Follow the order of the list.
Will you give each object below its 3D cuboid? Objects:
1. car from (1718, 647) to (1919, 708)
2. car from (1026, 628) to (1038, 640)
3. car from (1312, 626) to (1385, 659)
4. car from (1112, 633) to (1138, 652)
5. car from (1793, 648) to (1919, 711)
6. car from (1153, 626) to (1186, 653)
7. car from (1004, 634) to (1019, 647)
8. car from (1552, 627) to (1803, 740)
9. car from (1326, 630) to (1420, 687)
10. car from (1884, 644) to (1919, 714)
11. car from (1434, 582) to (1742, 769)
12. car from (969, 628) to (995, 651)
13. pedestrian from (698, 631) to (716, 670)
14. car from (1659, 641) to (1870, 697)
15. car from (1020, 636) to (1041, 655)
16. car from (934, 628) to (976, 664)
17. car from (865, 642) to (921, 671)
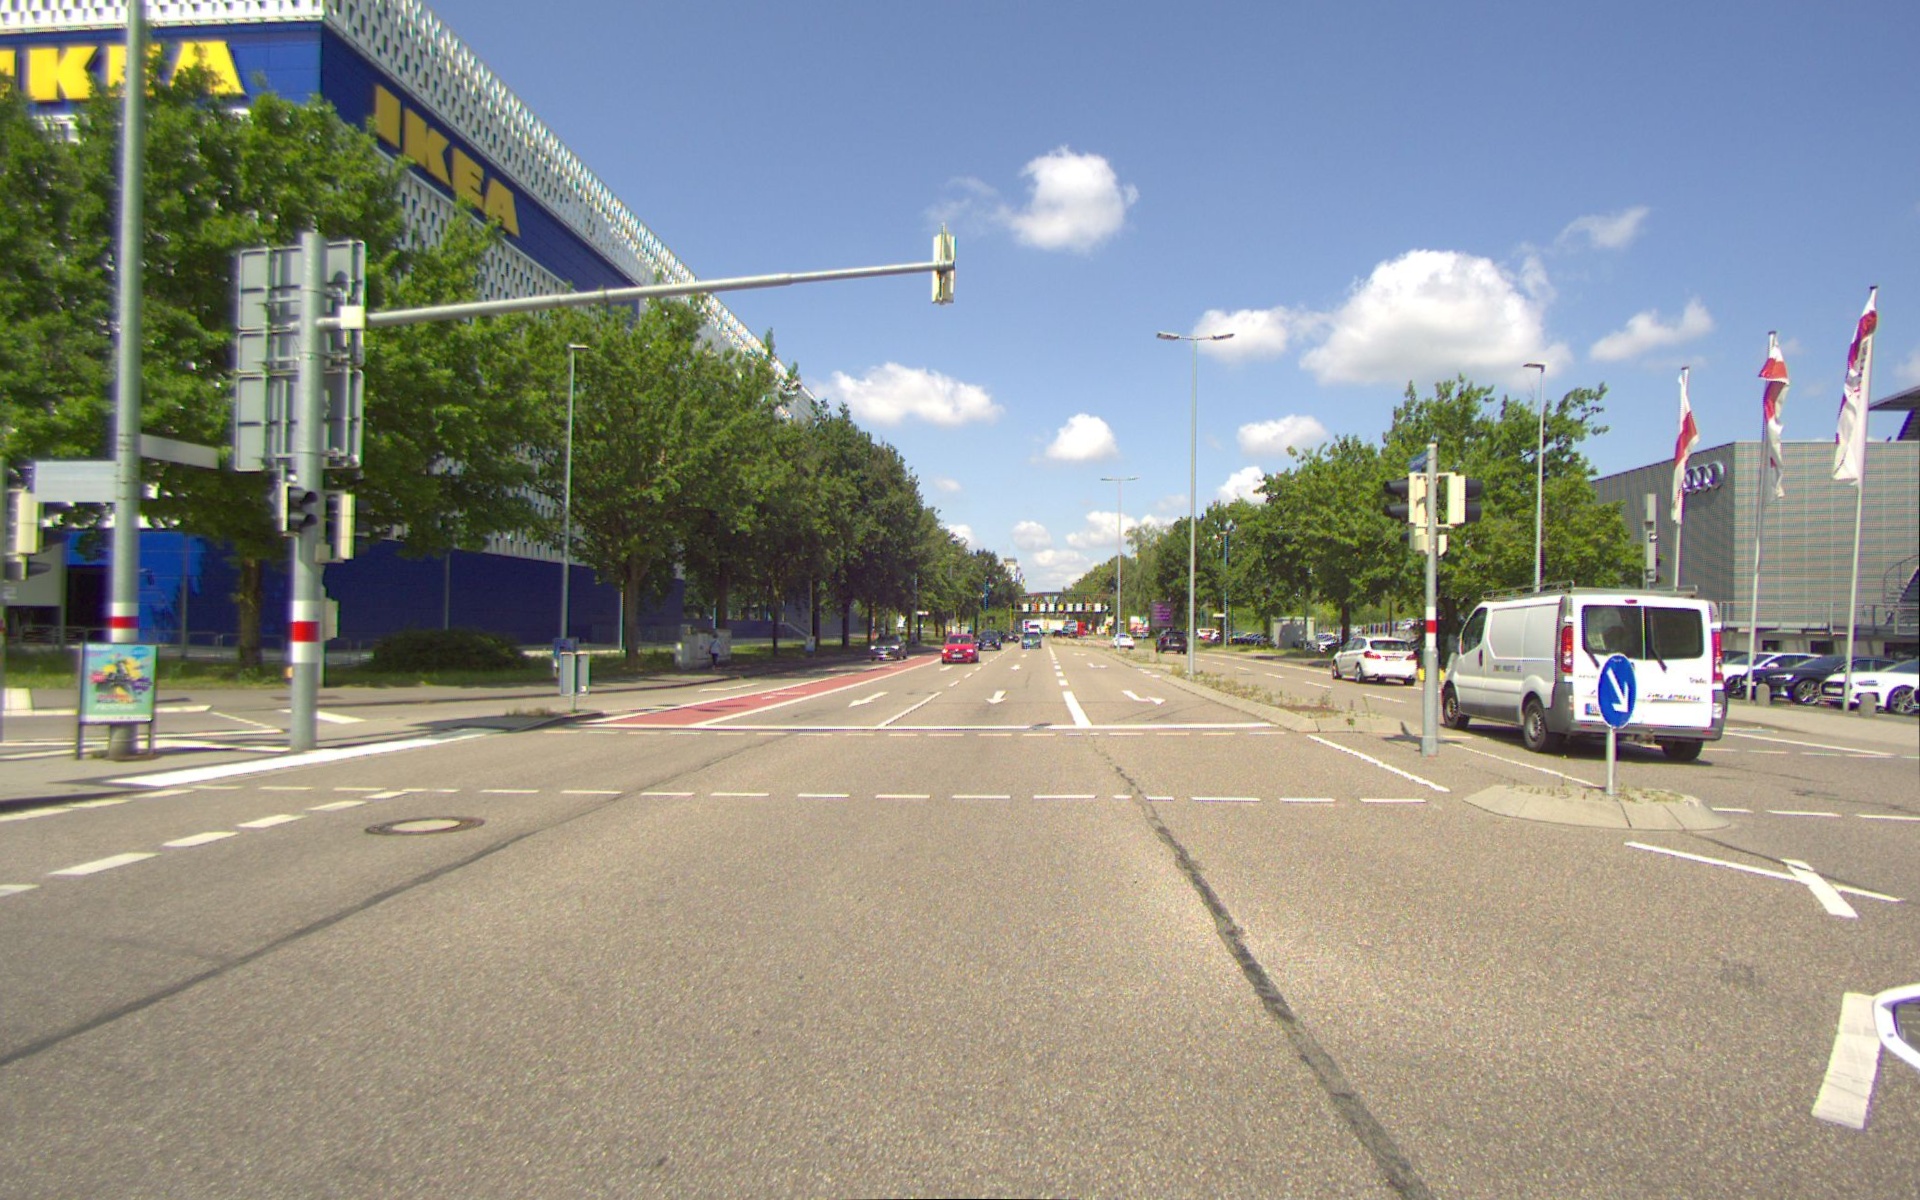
[{"bbox_3d":[23.096,2.036,26.584,4.497,1.315,1.908,2,0,5],"label":"car"},{"bbox_3d":[11.757,5.575,165.008,1.895,1.778,4.823,1,-1,4],"label":"car"},{"bbox_3d":[27.784,3.022,71.965,4.497,2.076,1.908,2,0,5],"label":"car"},{"bbox_3d":[14.551,3.738,88.895,1.823,1.461,4.001,2,0,3],"label":"car"},{"bbox_3d":[22.977,1.929,23.950,4.497,1.315,1.908,2,0,5],"label":"car"},{"bbox_3d":[14.574,2.719,70.039,1.741,1.639,4.270,2,0,5],"label":"car"},{"bbox_3d":[6.436,5.006,125.372,1.743,1.568,4.823,-1,-2,4],"label":"car"},{"bbox_3d":[12.398,1.354,17.719,1.744,1.651,4.002,1,0,4],"label":"car"},{"bbox_3d":[13.906,1.921,34.050,1.742,1.639,4.001,2,0,4],"label":"car"},{"bbox_3d":[22.445,1.846,21.263,3.920,1.483,1.797,4,-1,5],"label":"car"},{"bbox_3d":[8.292,0.883,13.846,1.939,2.087,4.567,1,0,9],"label":"car"},{"bbox_3d":[1.878,3.255,83.606,1.895,1.778,4.823,-1,-2,4],"label":"car"},{"bbox_3d":[-10.446,2.075,41.498,0.494,1.575,0.761,1,-1,5],"label":"pedestrian"},{"bbox_3d":[23.402,1.992,29.377,4.497,1.315,1.908,2,0,5],"label":"car"},{"bbox_3d":[6.097,3.926,87.630,1.743,1.568,4.823,-1,-2,4],"label":"car"},{"bbox_3d":[-0.184,2.276,50.845,1.812,1.623,4.566,1,0,3],"label":"car"},{"bbox_3d":[-3.911,3.315,59.536,1.858,1.575,4.589,1,-2,16],"label":"car"}]
